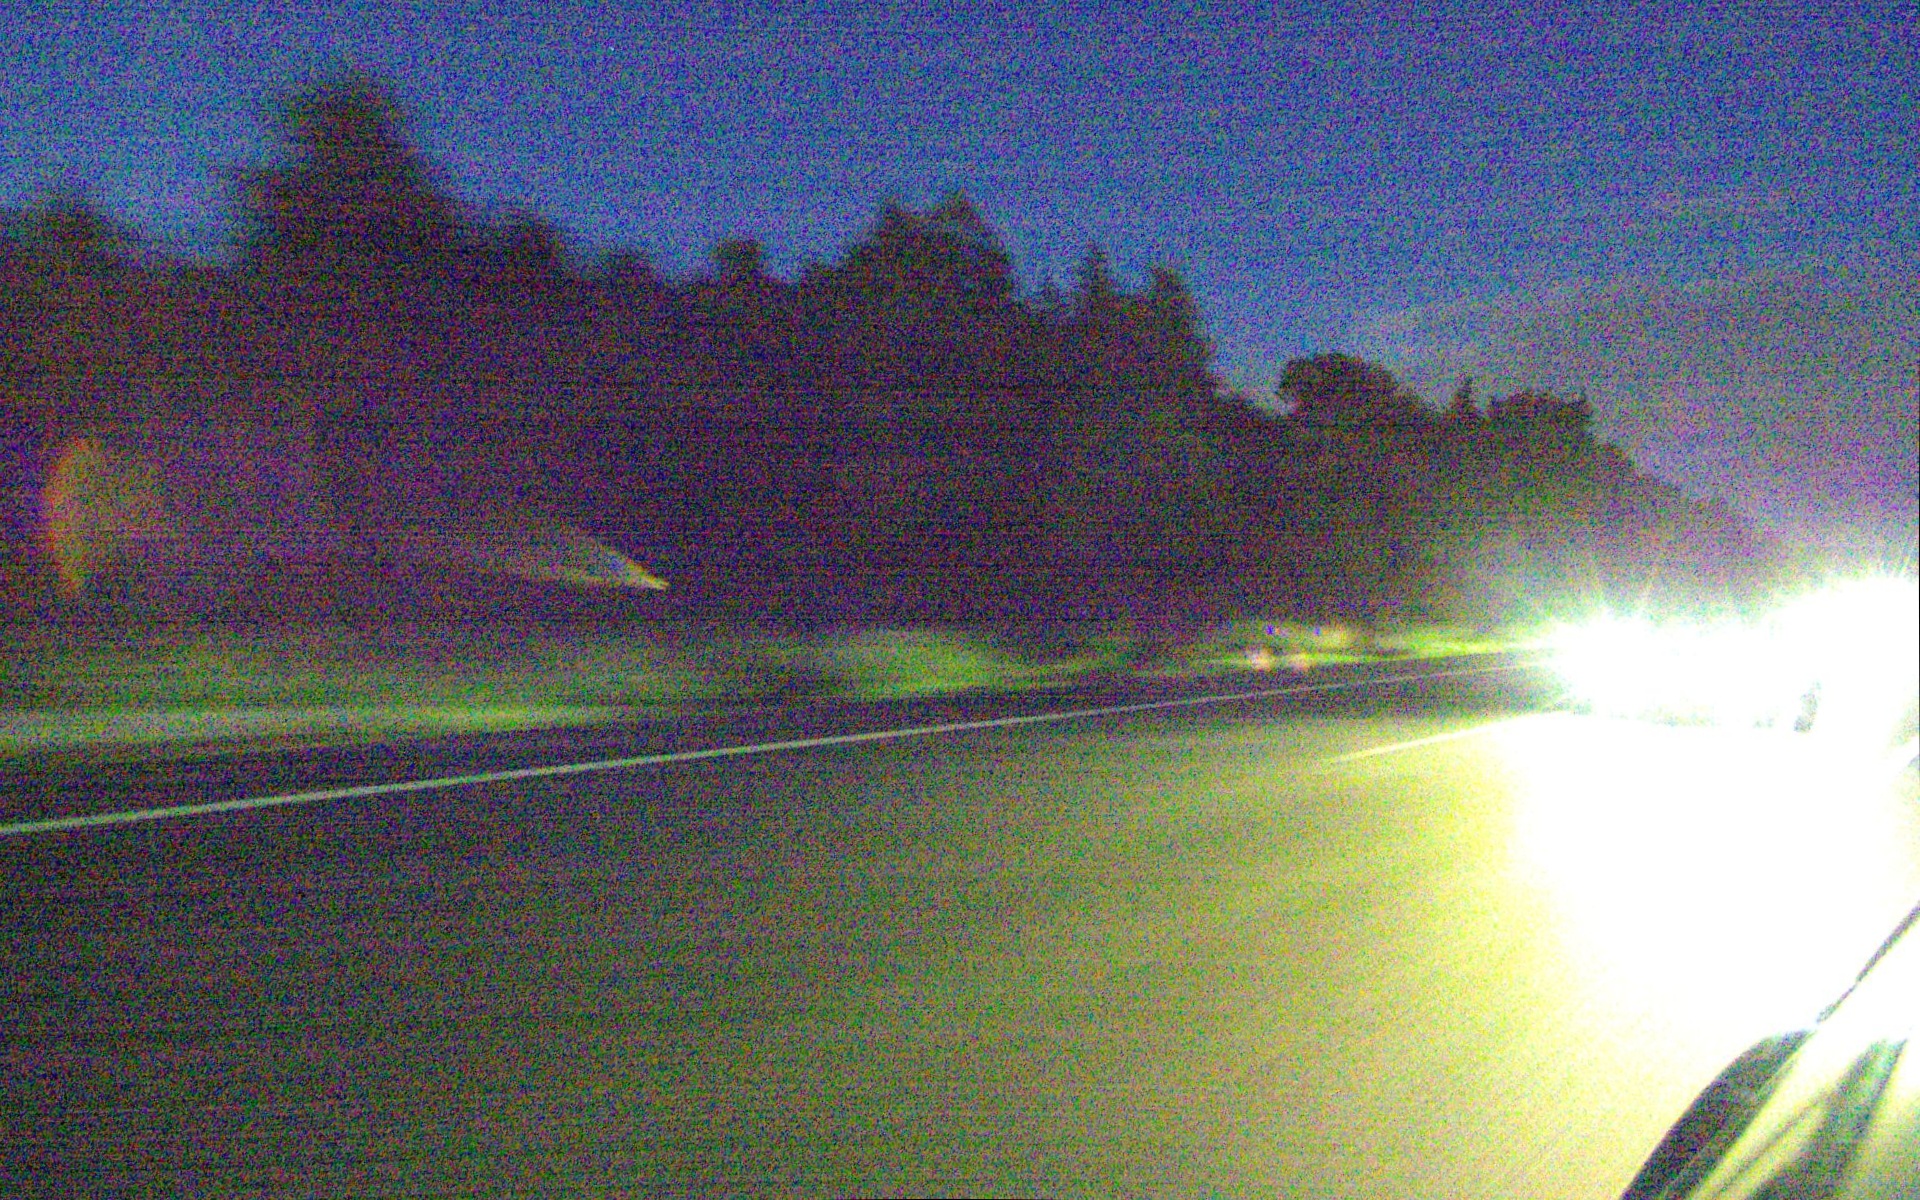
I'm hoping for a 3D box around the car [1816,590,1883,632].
[{"bbox_3d":[39.320,0.467,44.697,1.994,1.739,5.085,0,0,44],"label":"car"}]

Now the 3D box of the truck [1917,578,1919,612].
[{"bbox_3d":[128.060,-0.675,132.733,3.334,4.490,6.890,-1,-1,41],"label":"truck"}]

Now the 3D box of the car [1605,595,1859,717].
[{"bbox_3d":[10.886,0.662,14.120,4.980,1.419,1.838,0,0,-41],"label":"car"}]
